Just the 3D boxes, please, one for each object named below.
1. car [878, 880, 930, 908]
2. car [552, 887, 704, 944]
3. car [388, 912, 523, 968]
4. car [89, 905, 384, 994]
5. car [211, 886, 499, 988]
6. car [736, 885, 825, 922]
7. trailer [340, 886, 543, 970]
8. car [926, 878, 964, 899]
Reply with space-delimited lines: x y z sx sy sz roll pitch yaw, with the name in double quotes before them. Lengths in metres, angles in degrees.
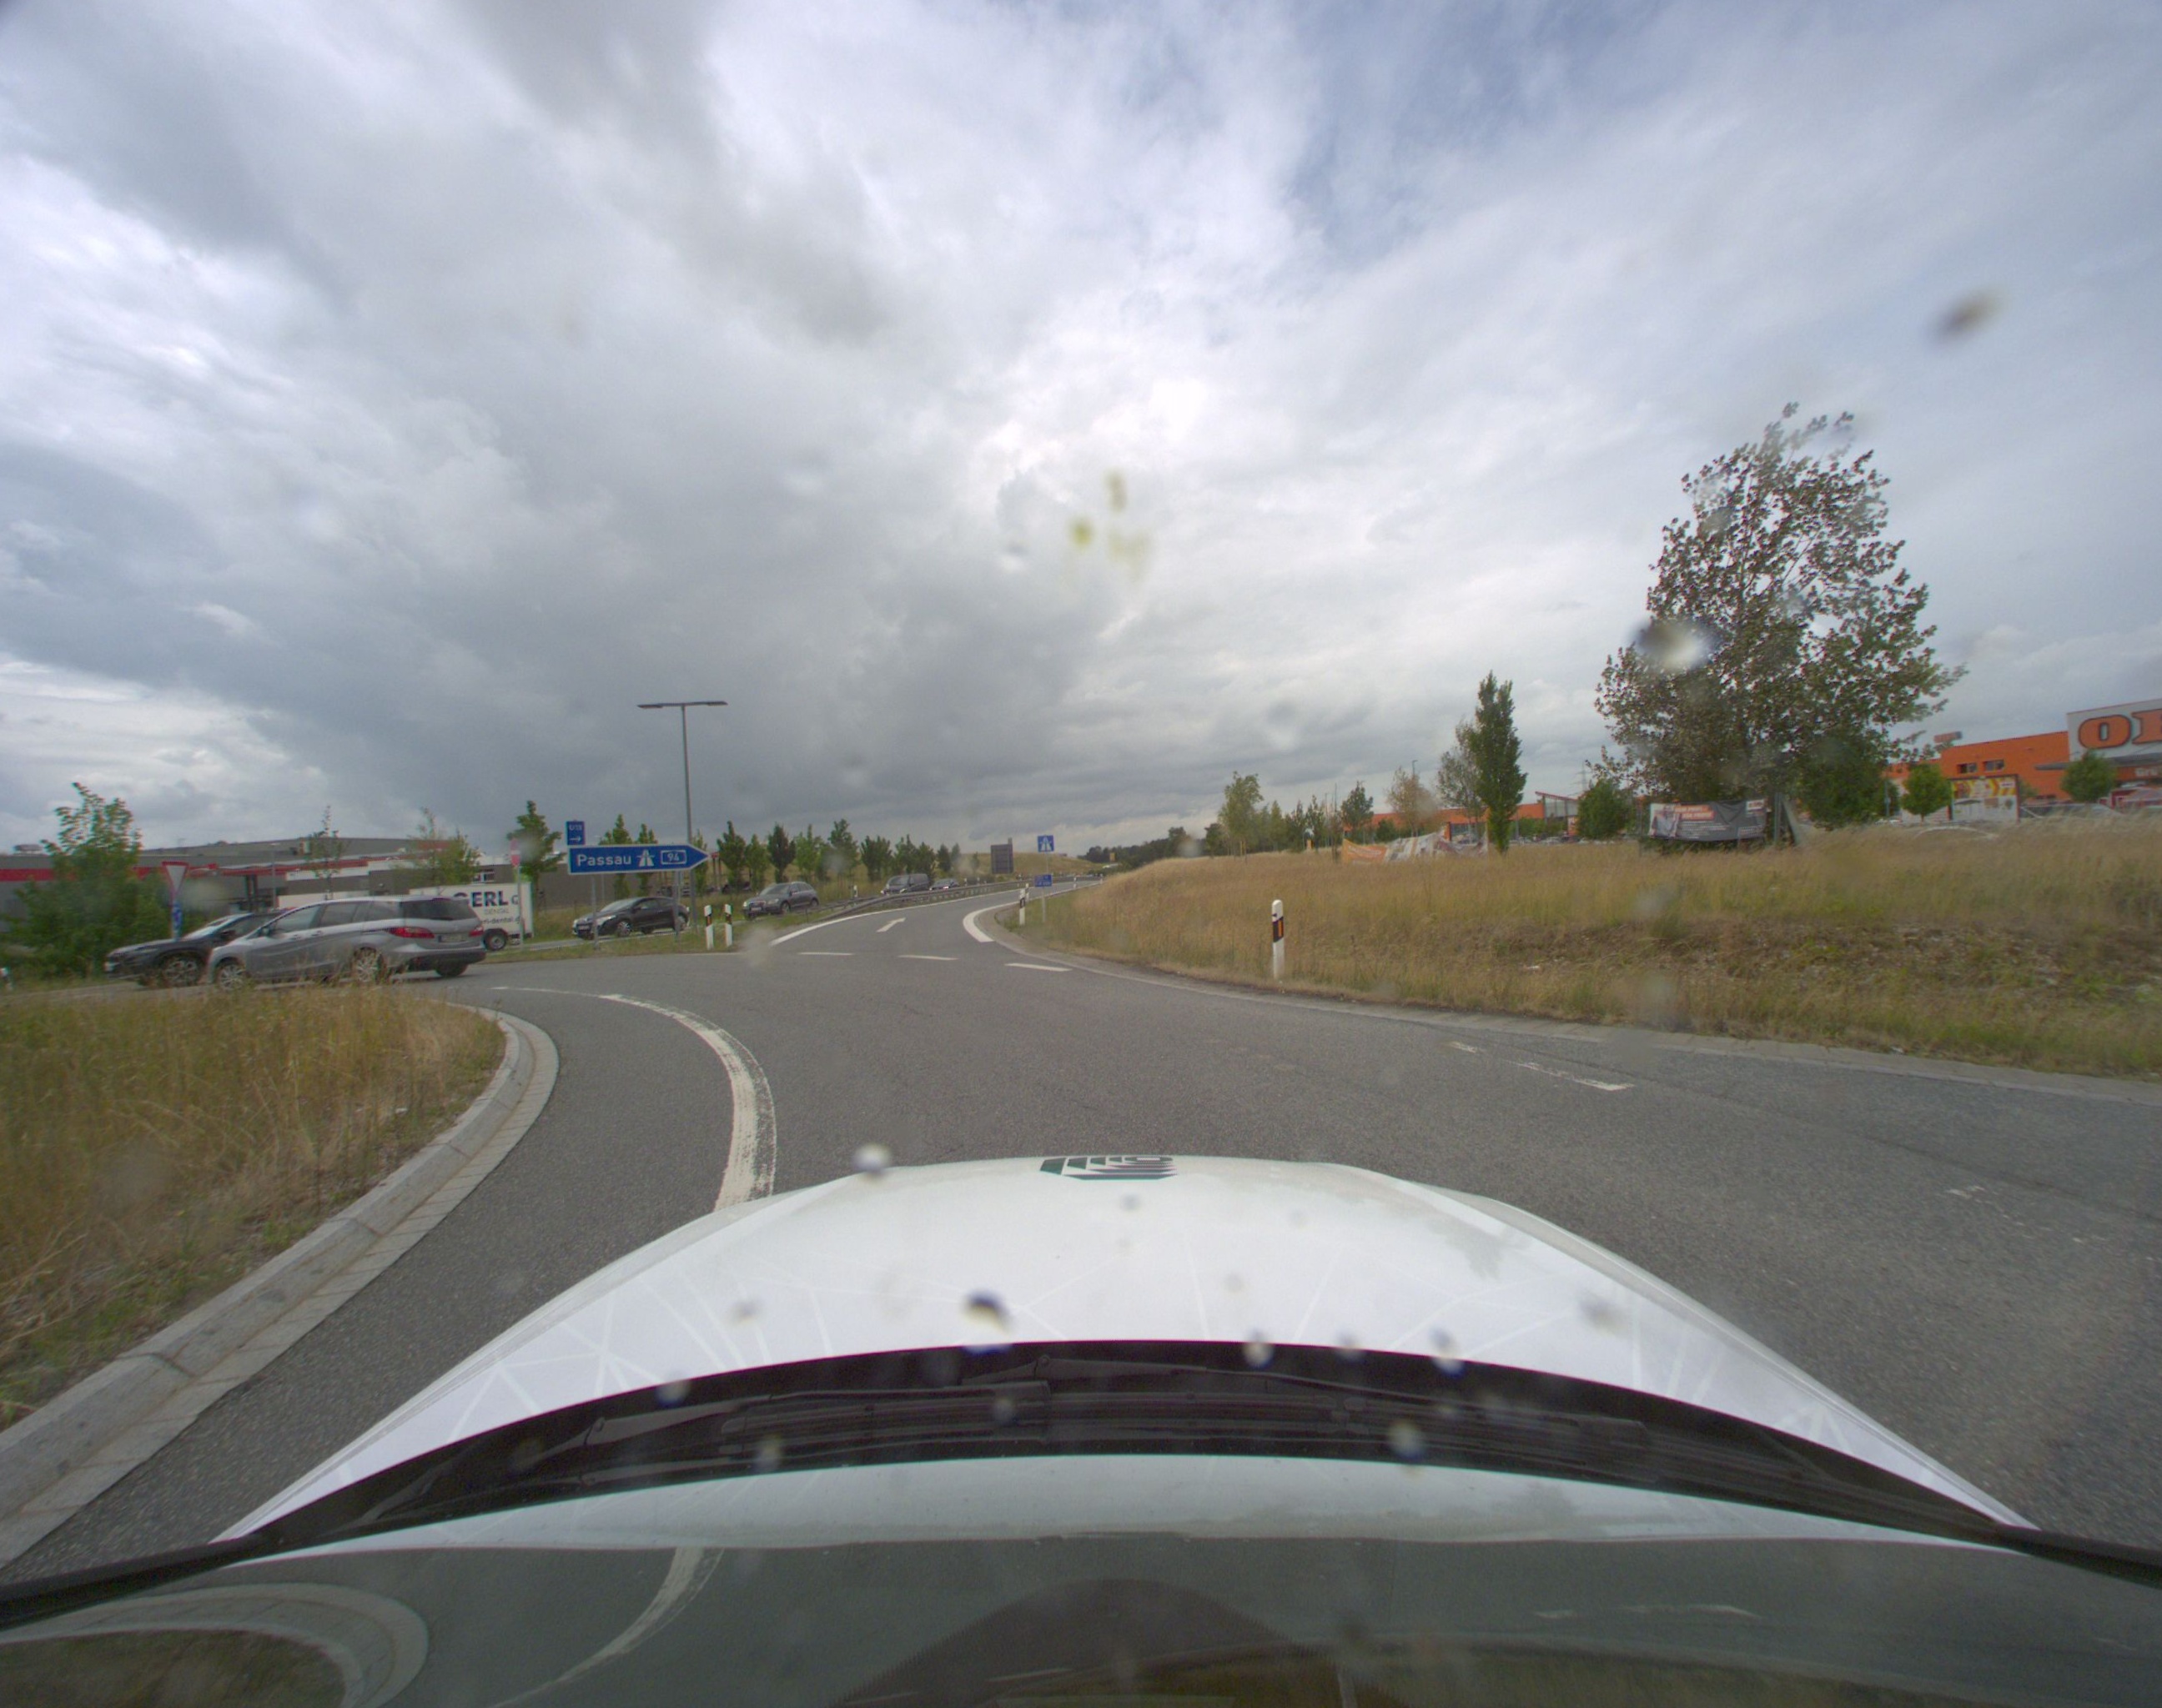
"car" -12.113 2.712 56.099 1.983 1.684 4.600 -4 -2 7
"car" -16.552 2.206 30.038 1.976 1.684 4.615 -5 -2 21
"car" -23.831 3.227 31.176 4.018 1.750 1.638 -1 -2 -37
"car" -20.977 2.272 20.524 1.975 1.760 4.709 0 -1 26
"car" -13.419 1.504 15.172 3.963 1.598 1.747 -2 0 7
"car" -13.879 2.253 37.904 1.719 1.491 4.556 -2 -1 11
"trailer" -19.230 2.143 24.707 1.975 2.184 4.398 -3 -2 27
"car" -12.041 3.048 72.570 1.983 1.684 4.600 -4 -2 7
